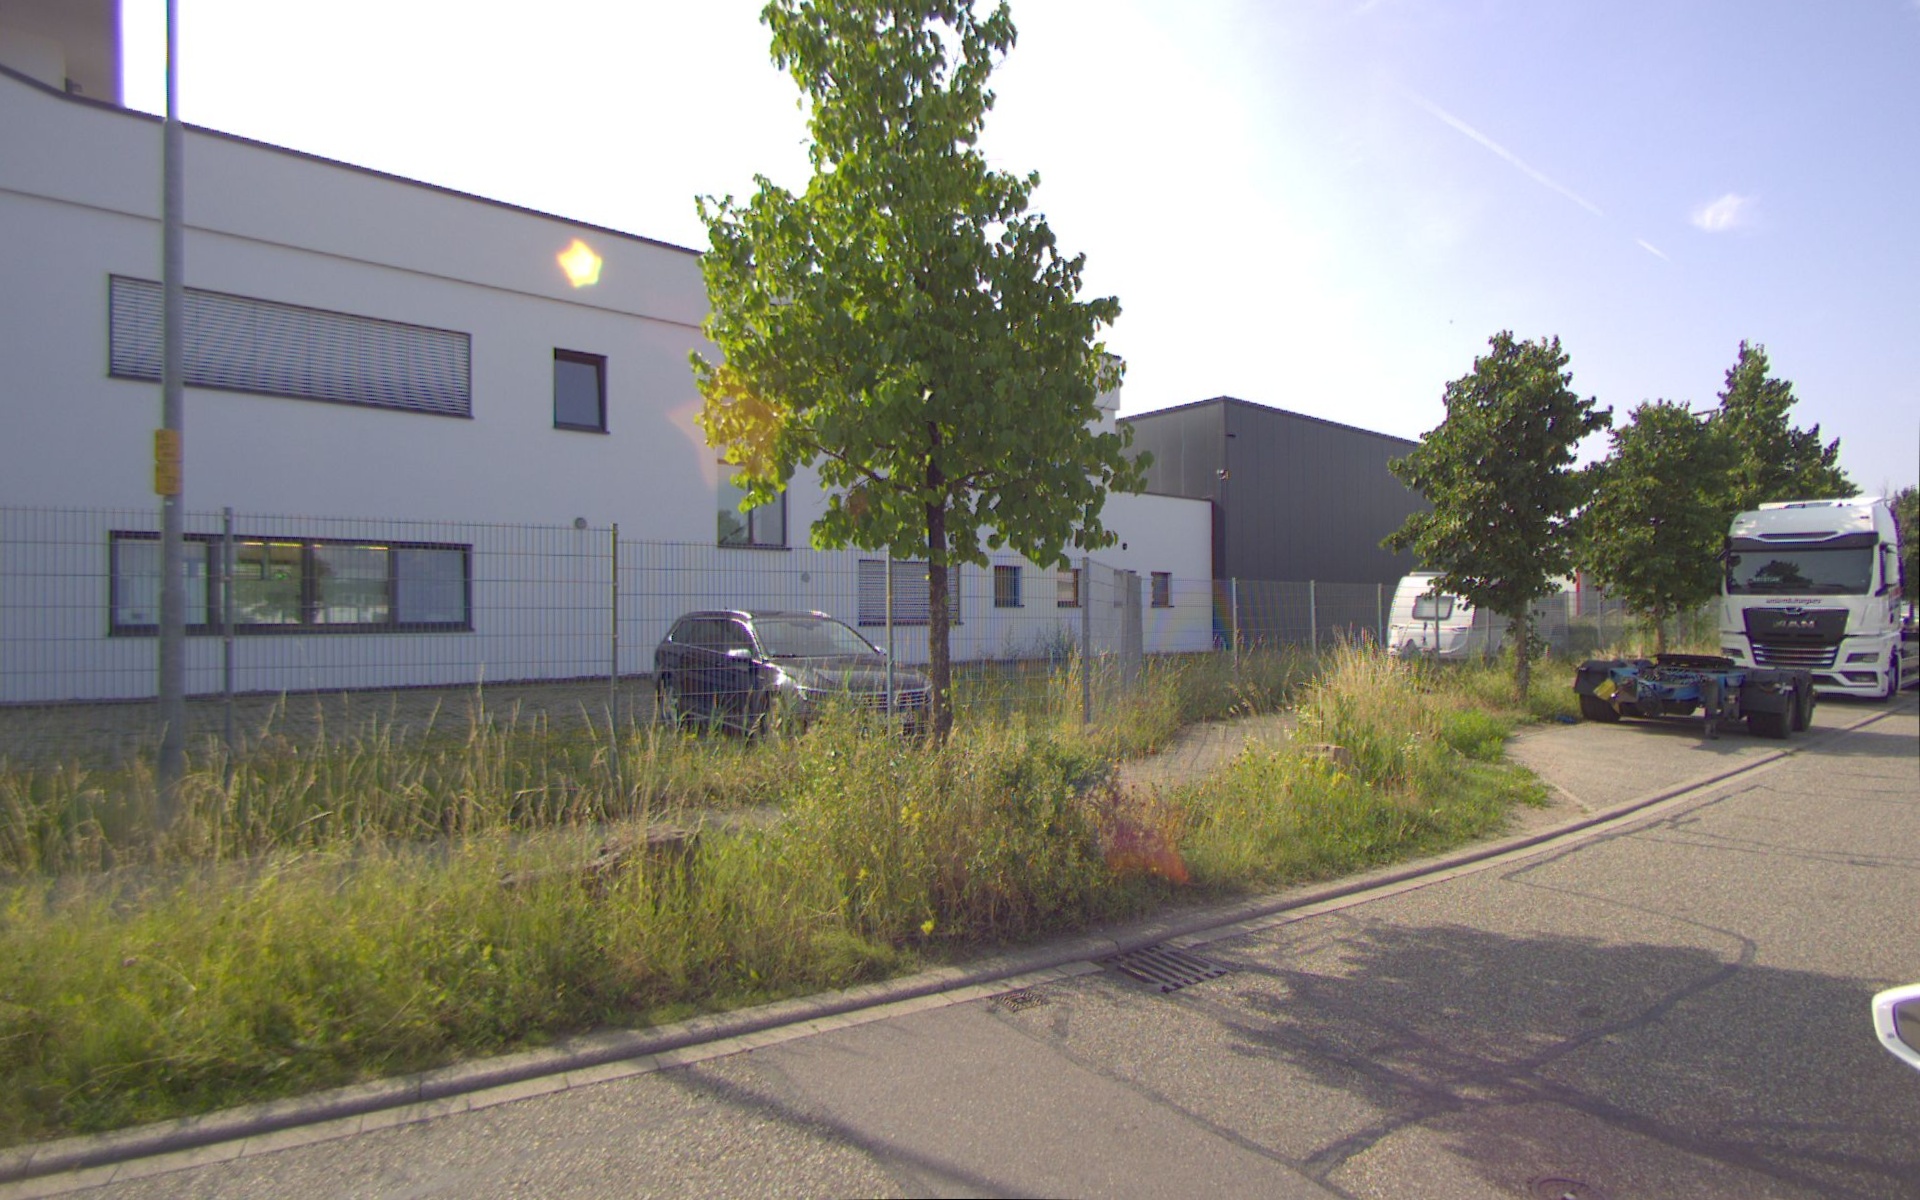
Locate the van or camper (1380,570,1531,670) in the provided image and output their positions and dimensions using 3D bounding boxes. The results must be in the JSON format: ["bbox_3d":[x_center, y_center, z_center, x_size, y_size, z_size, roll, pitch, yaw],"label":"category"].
[{"bbox_3d":[14.188,0.559,28.613,4.918,2.594,2.284,1,-1,-43],"label":"van or camper"}]

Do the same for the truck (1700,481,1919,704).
[{"bbox_3d":[20.480,-0.080,22.978,12.807,3.981,2.605,0,-1,-39],"label":"truck"}]

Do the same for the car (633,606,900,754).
[{"bbox_3d":[-2.391,0.816,11.906,1.585,1.473,3.461,0,0,-42],"label":"car"}]

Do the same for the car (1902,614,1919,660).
[{"bbox_3d":[32.655,1.201,33.299,3.972,1.455,1.867,1,-1,-44],"label":"car"}]

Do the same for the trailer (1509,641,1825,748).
[{"bbox_3d":[10.298,1.220,14.475,5.159,1.114,2.552,0,-1,-41],"label":"trailer"}]

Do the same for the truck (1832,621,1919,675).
[{"bbox_3d":[26.797,1.287,28.279,6.474,1.282,2.503,0,-1,-41],"label":"truck"}]
